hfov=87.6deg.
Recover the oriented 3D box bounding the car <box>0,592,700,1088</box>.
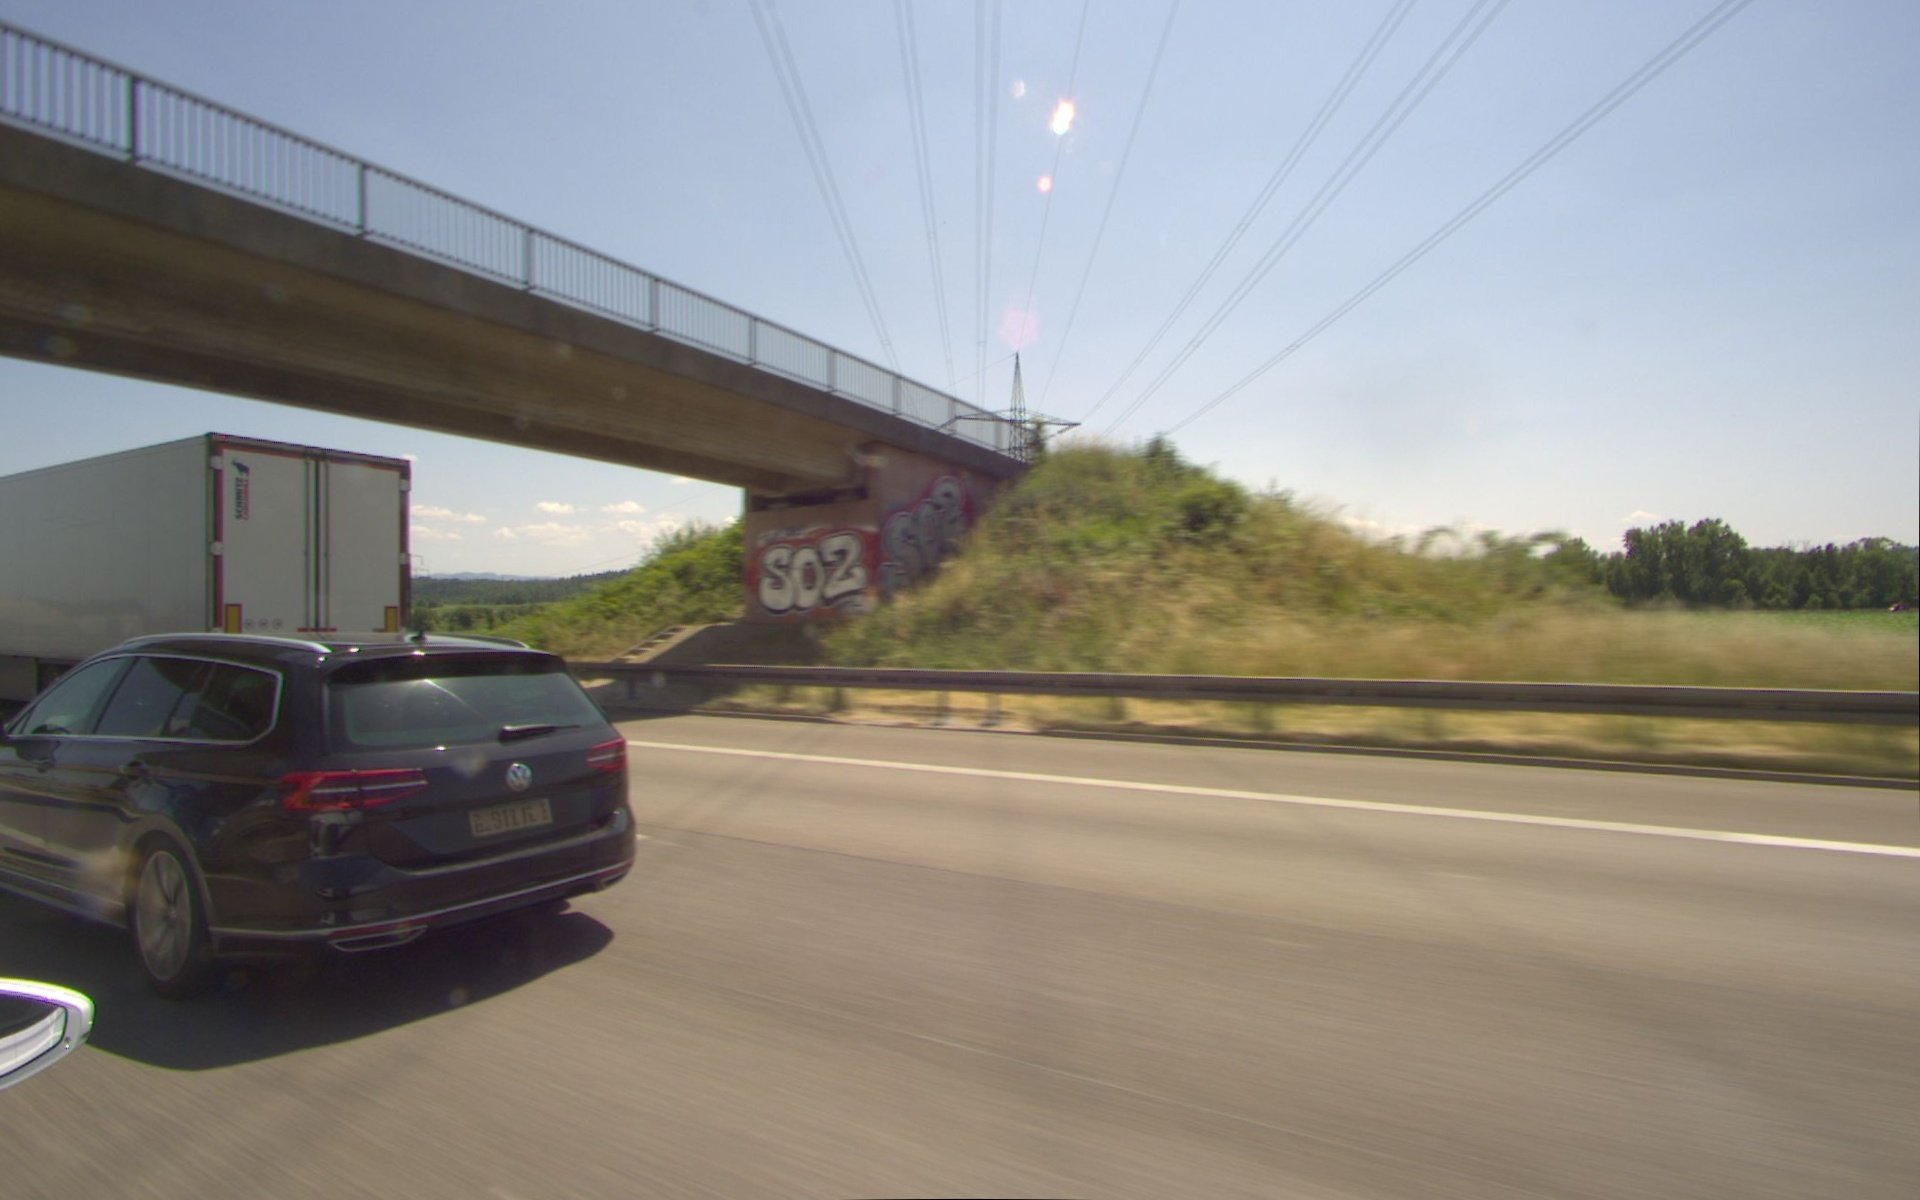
[{"bbox_3d":[-3.827,0.840,5.346,4.863,1.594,1.930,-1,-2,32],"label":"car"}]

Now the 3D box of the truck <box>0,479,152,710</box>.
[{"bbox_3d":[-20.580,-0.013,21.324,7.578,4.282,2.974,-1,-2,33],"label":"truck"}]

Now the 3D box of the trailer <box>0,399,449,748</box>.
[{"bbox_3d":[-13.942,-0.174,17.083,13.403,4.252,2.938,-1,-2,33],"label":"trailer"}]
